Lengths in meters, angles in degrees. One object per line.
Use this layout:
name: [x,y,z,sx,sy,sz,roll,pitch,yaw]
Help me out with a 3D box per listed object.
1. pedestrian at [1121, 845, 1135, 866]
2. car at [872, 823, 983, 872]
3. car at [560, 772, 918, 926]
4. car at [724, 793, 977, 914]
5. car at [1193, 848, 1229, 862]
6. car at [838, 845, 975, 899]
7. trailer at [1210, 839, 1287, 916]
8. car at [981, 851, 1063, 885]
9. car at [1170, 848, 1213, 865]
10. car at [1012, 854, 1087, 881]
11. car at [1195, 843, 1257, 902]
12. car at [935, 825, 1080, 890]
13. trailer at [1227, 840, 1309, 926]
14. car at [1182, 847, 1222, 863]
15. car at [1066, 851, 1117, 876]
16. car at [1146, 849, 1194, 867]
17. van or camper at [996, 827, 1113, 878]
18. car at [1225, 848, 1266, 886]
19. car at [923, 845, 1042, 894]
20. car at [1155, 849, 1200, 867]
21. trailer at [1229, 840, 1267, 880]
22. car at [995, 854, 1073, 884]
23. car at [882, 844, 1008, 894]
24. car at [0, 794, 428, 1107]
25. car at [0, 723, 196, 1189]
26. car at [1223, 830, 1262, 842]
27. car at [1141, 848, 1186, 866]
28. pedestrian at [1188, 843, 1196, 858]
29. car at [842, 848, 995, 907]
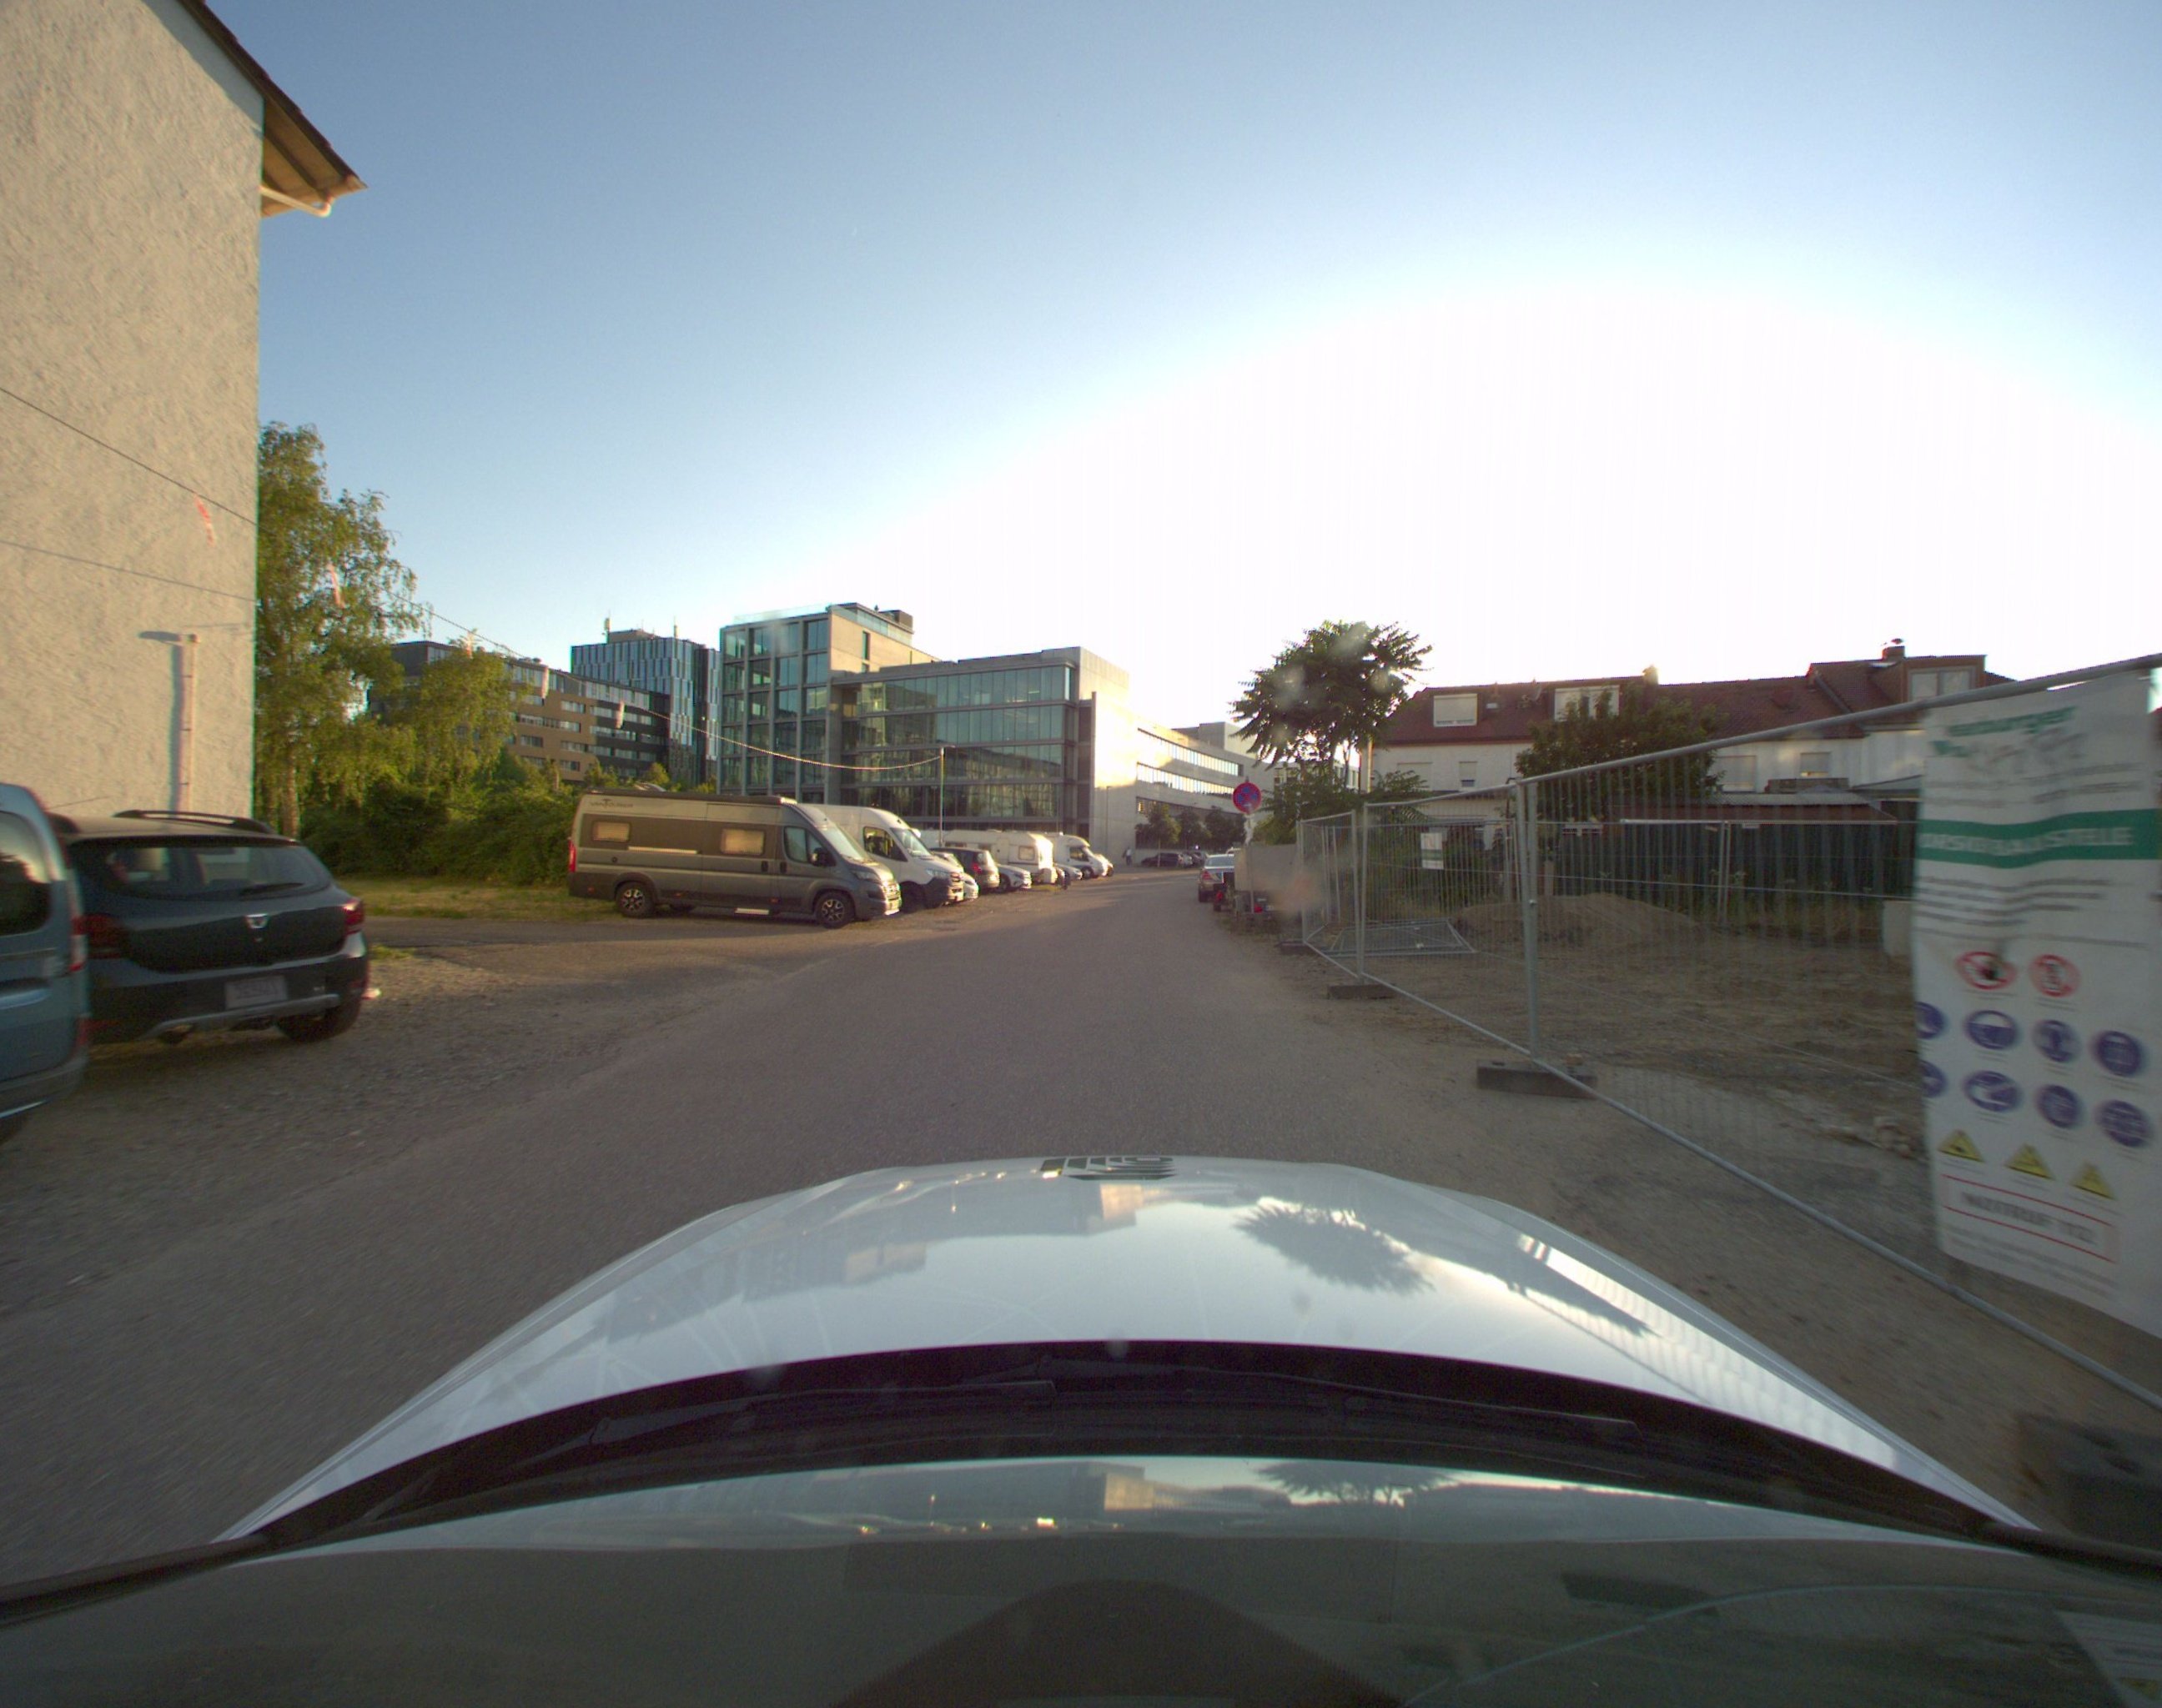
pedestrian: [4.138,0.109,71.548,0.906,1.850,0.847,0,1,-35]
car: [-9.244,-0.409,49.124,6.193,2.673,2.233,2,0,18]
car: [-6.859,-0.089,16.906,6.366,2.713,2.113,3,-1,0]
car: [-5.830,-0.046,20.996,5.797,2.712,2.054,3,1,5]
car: [14.671,0.137,92.145,3.669,1.457,1.721,1,0,25]
car: [-5.579,0.574,26.311,3.904,1.591,1.752,1,-1,7]
trailer: [4.320,0.541,21.538,1.720,1.777,4.950,-1,0,9]
car: [-2.857,0.662,39.593,3.607,1.519,1.710,2,0,9]
car: [11.142,0.248,82.259,3.951,1.511,1.770,2,1,24]
car: [-1.708,0.730,44.579,3.783,1.328,1.698,2,0,11]
car: [4.759,0.563,26.837,1.795,1.724,4.941,-1,0,10]
car: [-3.216,0.102,36.129,5.846,2.533,2.421,3,2,14]
trailer: [3.908,0.570,17.315,1.245,1.665,2.806,-1,0,4]
car: [12.948,0.109,87.254,3.835,1.511,1.770,2,1,24]
car: [0.747,0.619,53.031,1.672,1.519,4.385,2,0,24]
car: [8.287,0.375,75.503,4.053,1.528,1.855,2,1,18]
van or camper: [-1.608,-0.098,49.904,6.693,2.897,2.417,1,0,13]
car: [8.468,0.627,41.741,1.758,1.831,4.426,0,0,15]
car: [-3.746,0.562,31.114,4.095,1.590,1.755,3,1,16]
car: [9.168,0.369,77.373,3.966,1.512,1.592,2,2,18]
trailer: [9.883,0.309,47.914,2.050,2.211,5.242,0,0,13]
car: [-2.432,0.756,42.399,3.704,1.367,1.710,2,0,9]
car: [-4.710,0.496,28.408,3.896,1.590,1.755,1,0,16]
car: [-6.995,0.435,5.561,3.901,1.652,1.753,3,1,10]
car: [-6.338,0.340,3.006,3.919,1.911,1.745,3,1,-6]
car: [19.912,-2.198,100.539,4.391,1.464,1.774,1,1,30]
car: [7.386,0.277,72.775,3.704,1.481,1.778,2,1,18]
pedestrian: [12.976,-0.387,95.171,0.640,1.784,0.729,2,0,24]
car: [-4.630,0.648,23.486,3.903,1.507,1.794,1,0,8]
